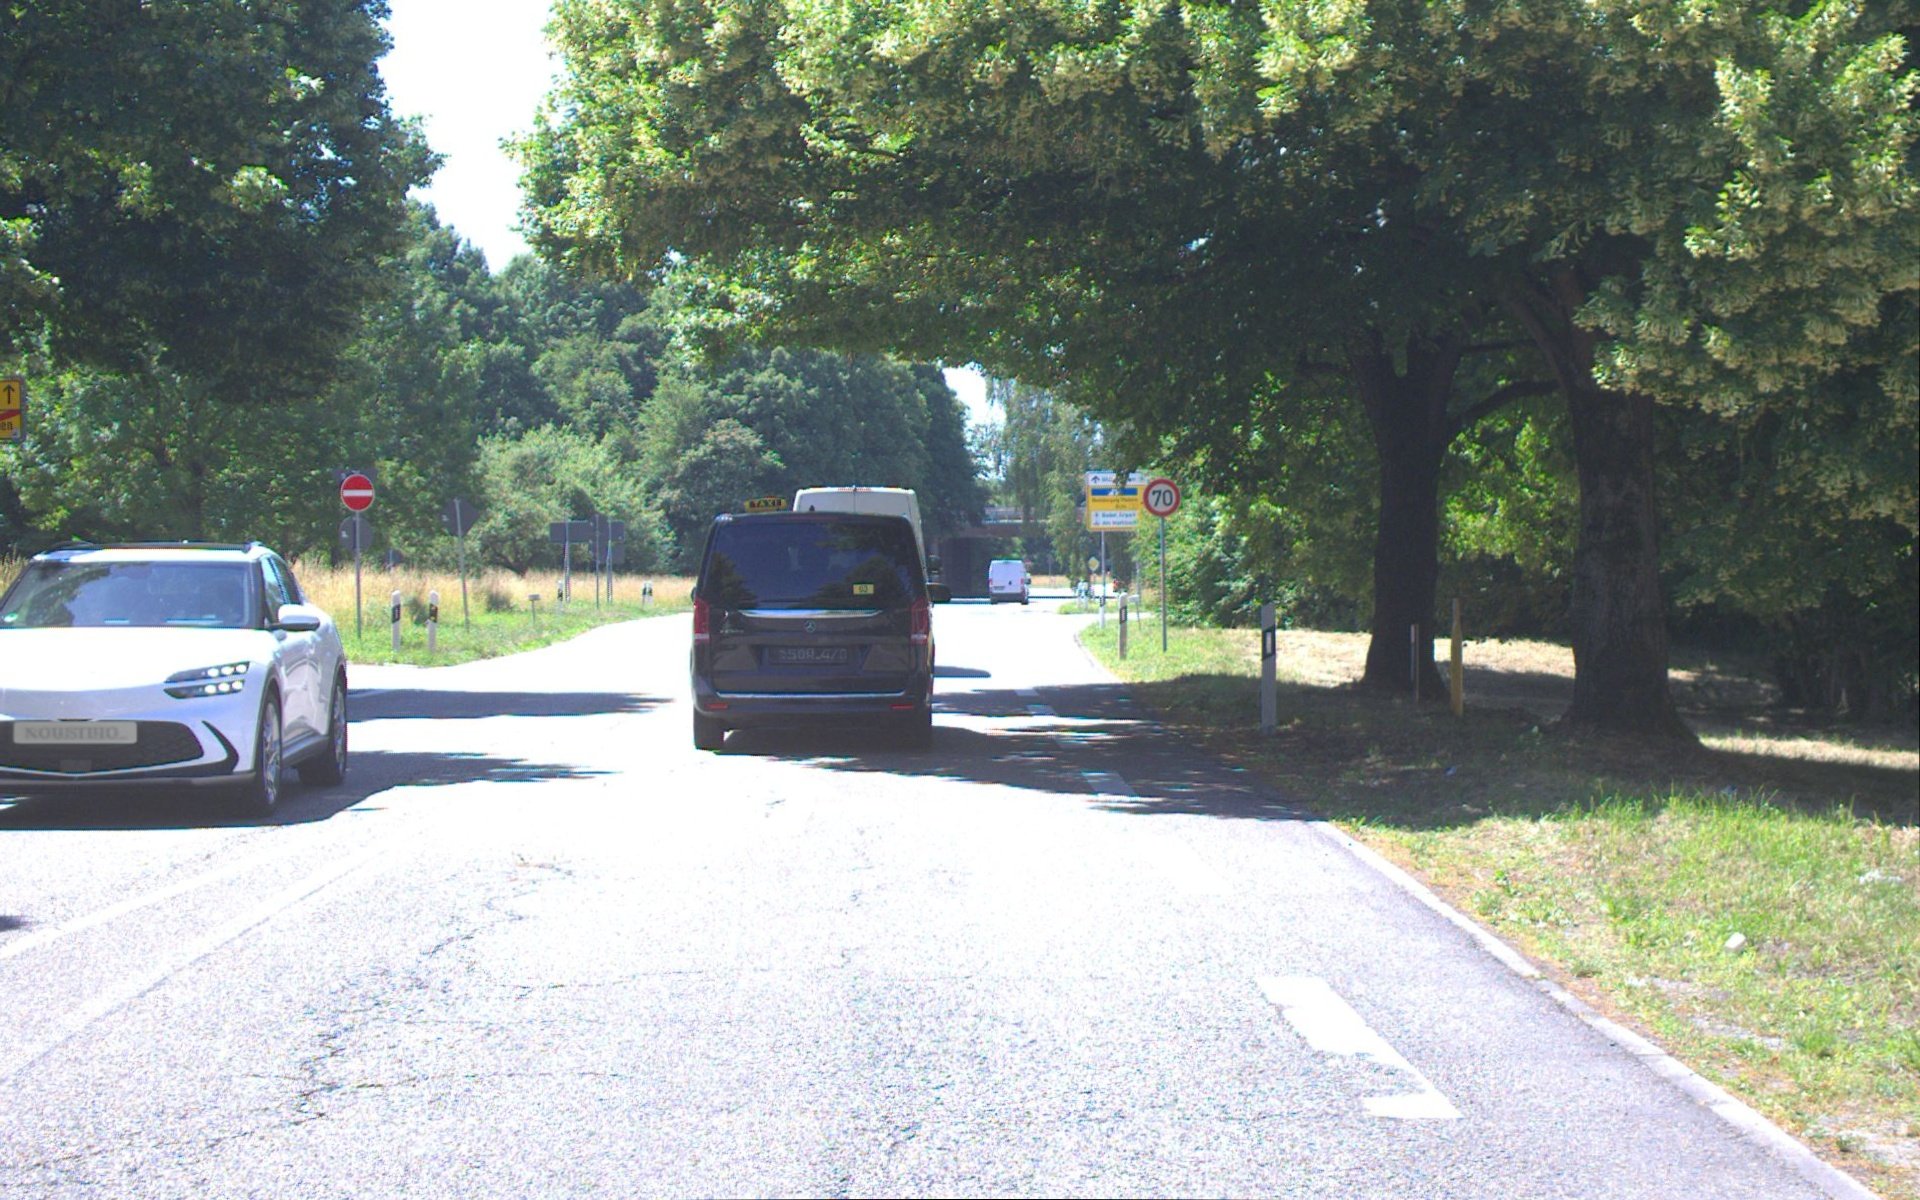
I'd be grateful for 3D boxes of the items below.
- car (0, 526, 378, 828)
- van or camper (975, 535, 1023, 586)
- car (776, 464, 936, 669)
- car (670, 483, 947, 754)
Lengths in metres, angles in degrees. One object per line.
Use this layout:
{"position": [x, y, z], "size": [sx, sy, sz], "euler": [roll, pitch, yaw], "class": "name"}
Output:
{"position": [-4.849, 0.392, 20.654], "size": [2.094, 1.583, 4.475], "euler": [2, 0, -3], "class": "car"}
{"position": [2.240, -2.284, 201.055], "size": [2.631, 2.919, 5.207], "euler": [1, 0, -1], "class": "van or camper"}
{"position": [-1.436, -0.464, 48.555], "size": [2.078, 2.693, 4.666], "euler": [2, 0, -1], "class": "car"}
{"position": [-1.168, 0.124, 27.944], "size": [1.993, 1.946, 5.005], "euler": [2, 0, -1], "class": "car"}
